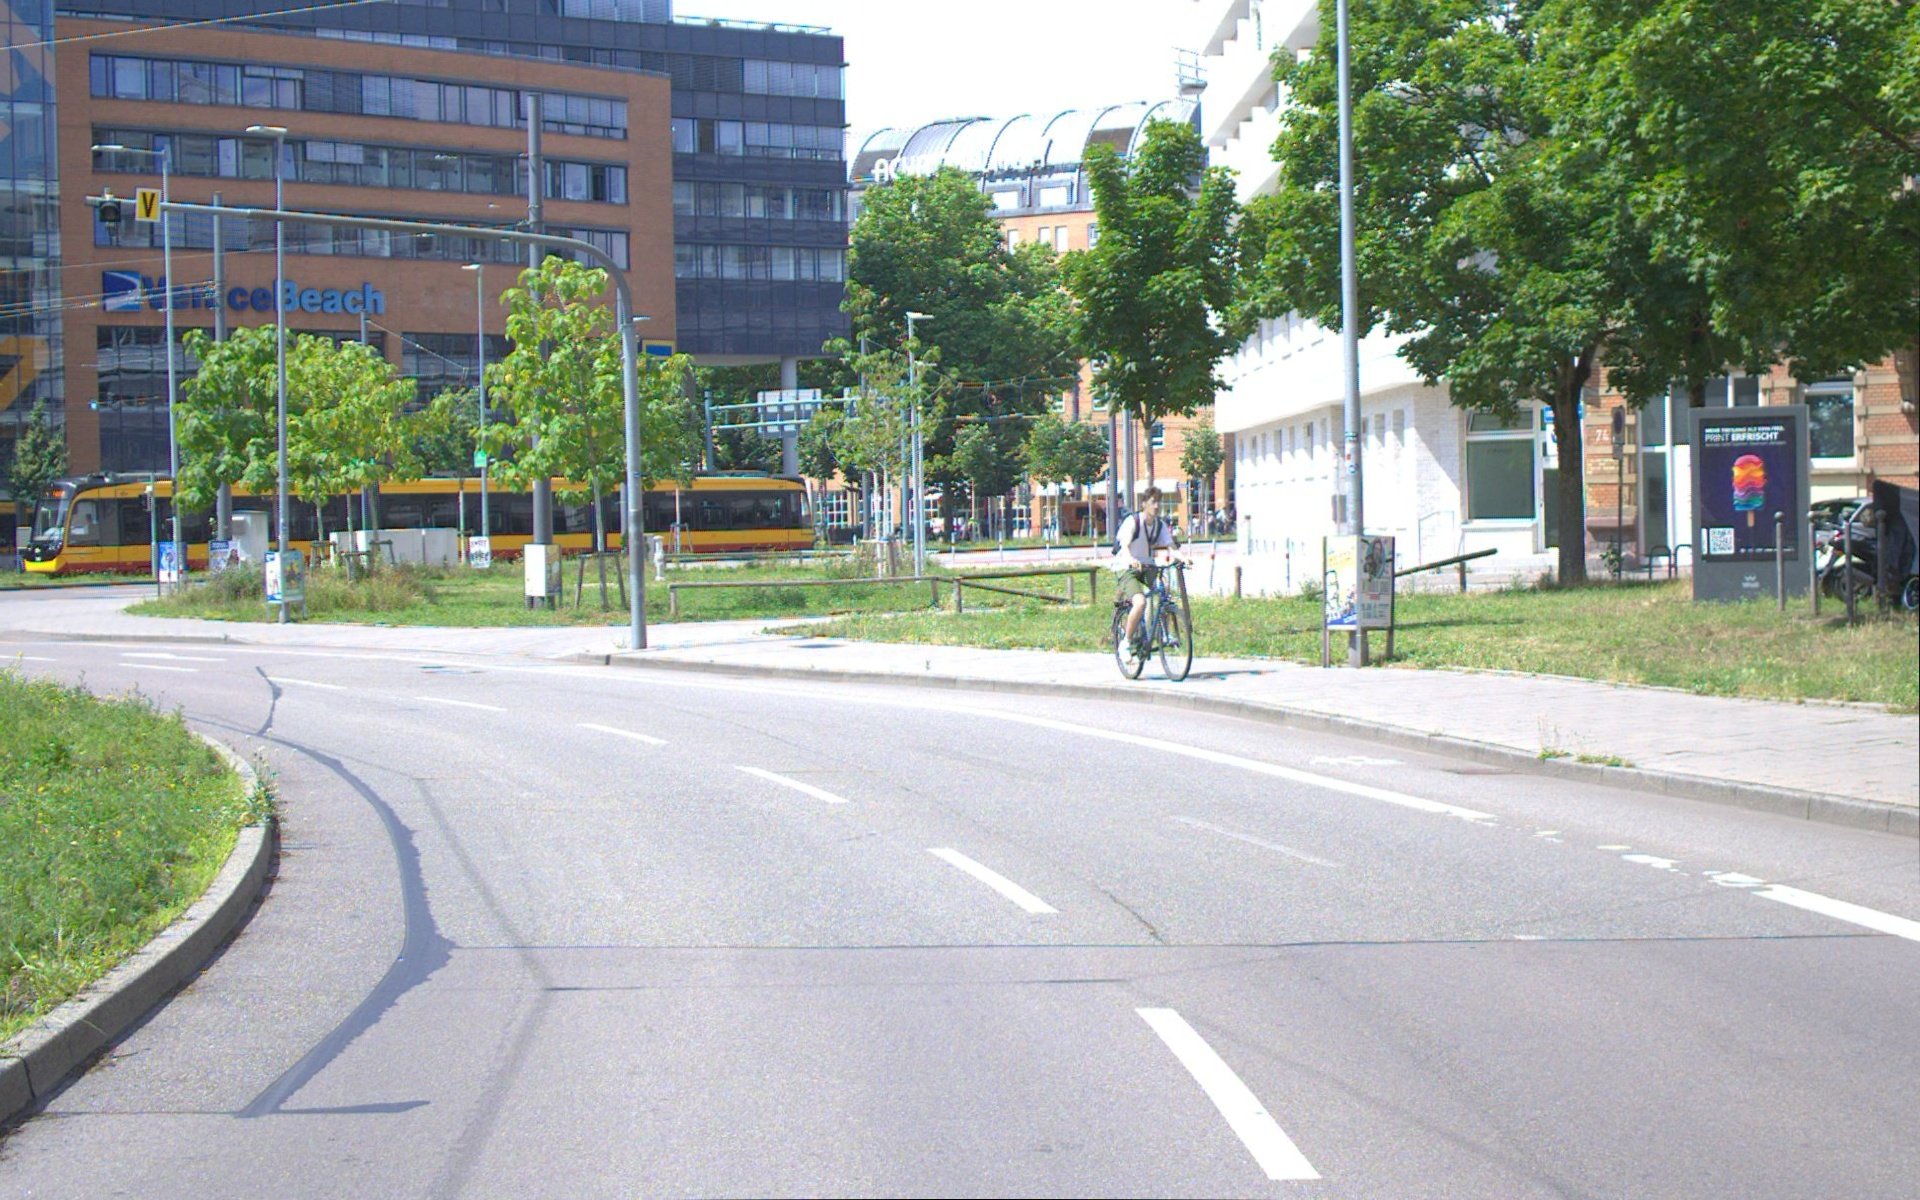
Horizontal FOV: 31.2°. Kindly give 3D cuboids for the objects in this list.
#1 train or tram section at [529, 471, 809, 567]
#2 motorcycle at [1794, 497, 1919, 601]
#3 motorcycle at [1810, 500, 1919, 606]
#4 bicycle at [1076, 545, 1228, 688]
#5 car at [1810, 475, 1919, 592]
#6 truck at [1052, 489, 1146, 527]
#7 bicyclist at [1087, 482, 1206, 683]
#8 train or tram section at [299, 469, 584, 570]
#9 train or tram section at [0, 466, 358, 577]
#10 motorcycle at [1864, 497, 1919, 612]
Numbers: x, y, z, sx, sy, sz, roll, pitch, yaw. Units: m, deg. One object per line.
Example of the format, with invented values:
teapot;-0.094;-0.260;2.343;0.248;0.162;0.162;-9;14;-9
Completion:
train or tram section;-11.298;-3.174;135.270;3.062;3.608;12.607;0;1;39
motorcycle;10.610;-0.600;39.701;1.783;1.163;0.640;-1;1;-2
motorcycle;10.620;-0.548;38.969;1.783;1.163;0.640;-1;1;-2
bicycle;1.787;0.133;32.248;0.693;1.238;1.840;-5;3;-19
car;13.040;-0.896;43.739;4.245;1.422;1.806;-2;2;-30
truck;7.774;-5.127;192.968;1.994;2.078;5.521;-1;1;-41
bicyclist;1.747;-0.176;32.310;0.694;1.818;0.956;-5;3;-19
train or tram section;-18.923;-2.956;126.242;3.062;3.591;10.967;1;1;41
train or tram section;-26.831;-2.687;117.007;3.224;3.587;13.469;1;1;41
motorcycle;9.923;-0.497;36.208;0.638;1.163;1.906;-1;1;11
